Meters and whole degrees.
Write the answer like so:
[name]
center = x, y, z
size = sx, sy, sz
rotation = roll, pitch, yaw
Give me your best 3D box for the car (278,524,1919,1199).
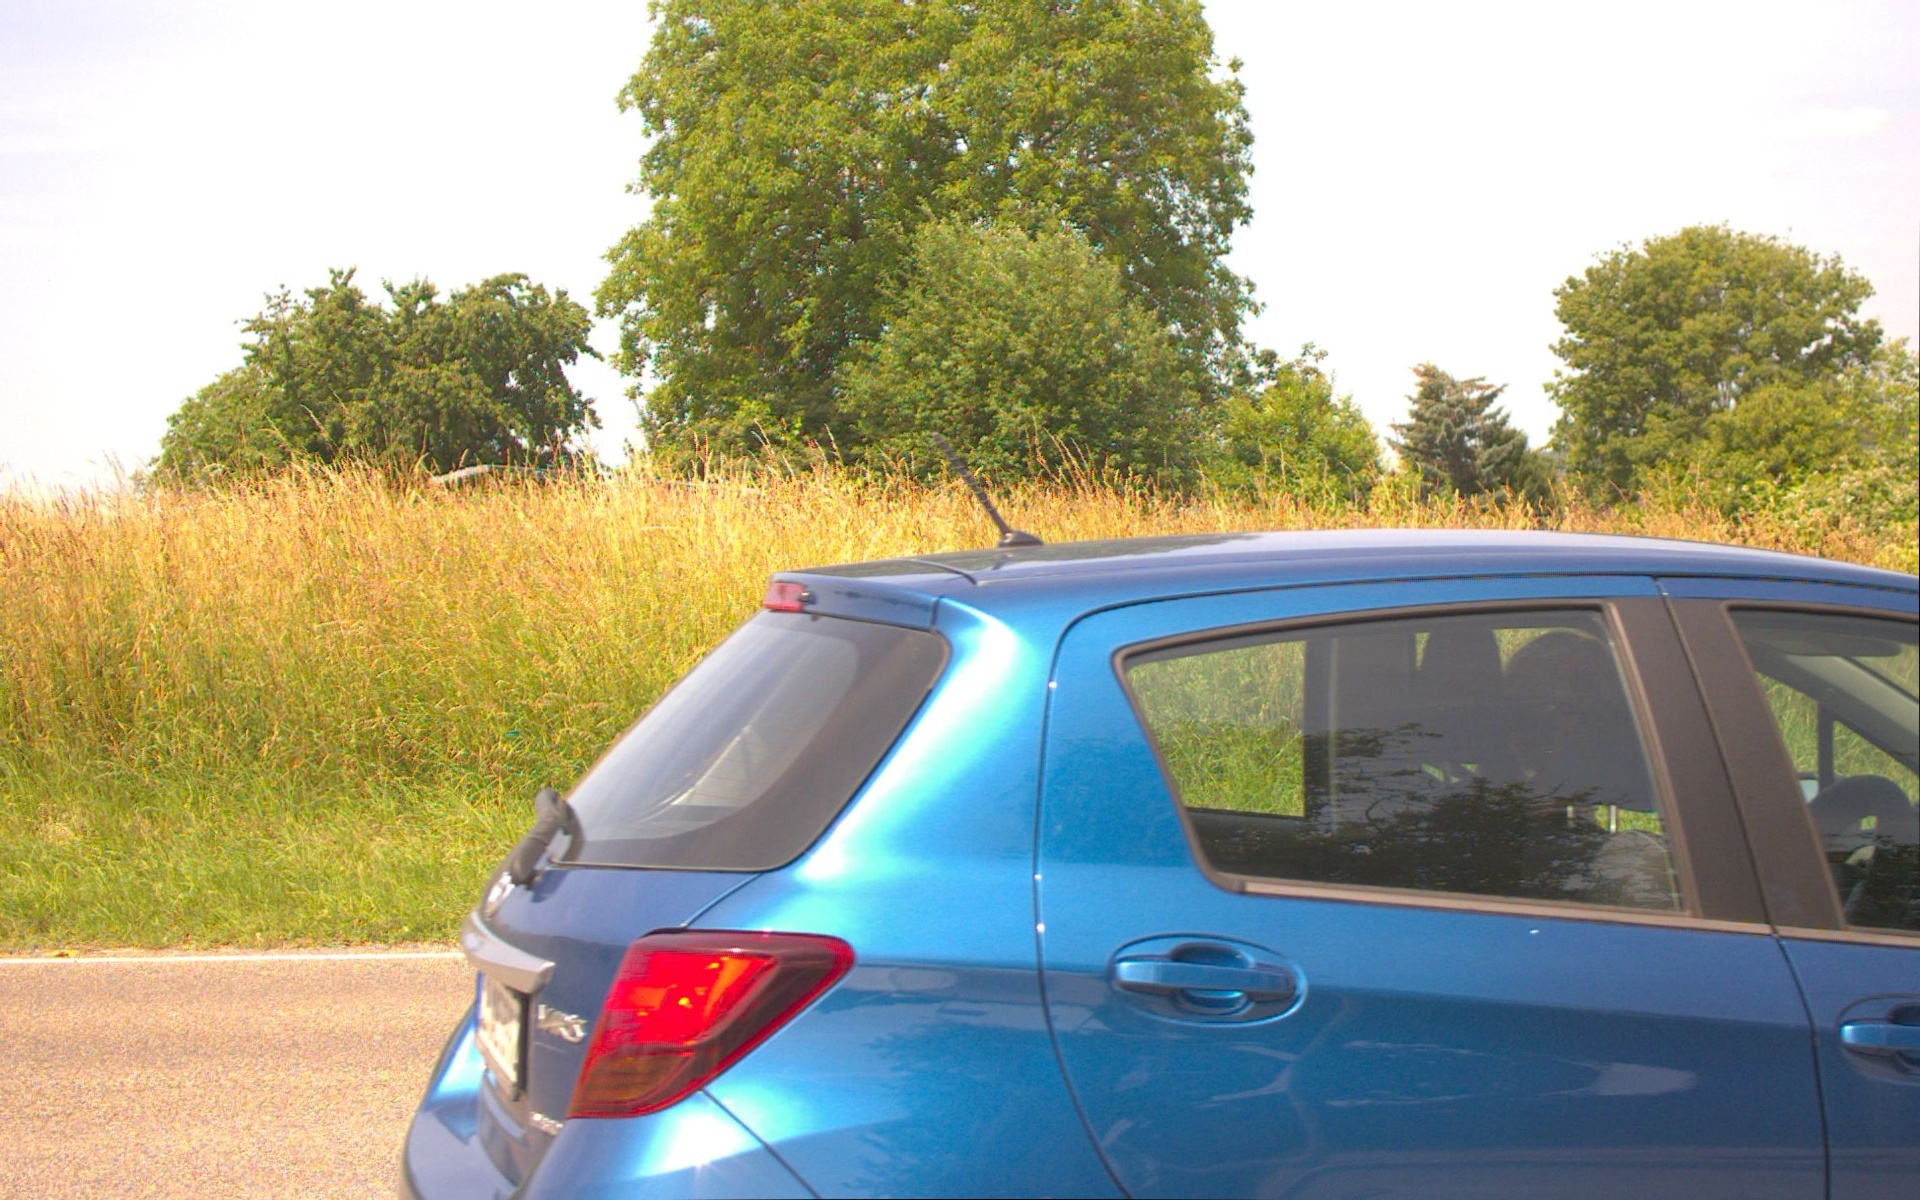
[car]
center = 1.001, 0.667, 4.995
size = 3.835, 1.487, 1.614
rotation = 0, 2, -14
